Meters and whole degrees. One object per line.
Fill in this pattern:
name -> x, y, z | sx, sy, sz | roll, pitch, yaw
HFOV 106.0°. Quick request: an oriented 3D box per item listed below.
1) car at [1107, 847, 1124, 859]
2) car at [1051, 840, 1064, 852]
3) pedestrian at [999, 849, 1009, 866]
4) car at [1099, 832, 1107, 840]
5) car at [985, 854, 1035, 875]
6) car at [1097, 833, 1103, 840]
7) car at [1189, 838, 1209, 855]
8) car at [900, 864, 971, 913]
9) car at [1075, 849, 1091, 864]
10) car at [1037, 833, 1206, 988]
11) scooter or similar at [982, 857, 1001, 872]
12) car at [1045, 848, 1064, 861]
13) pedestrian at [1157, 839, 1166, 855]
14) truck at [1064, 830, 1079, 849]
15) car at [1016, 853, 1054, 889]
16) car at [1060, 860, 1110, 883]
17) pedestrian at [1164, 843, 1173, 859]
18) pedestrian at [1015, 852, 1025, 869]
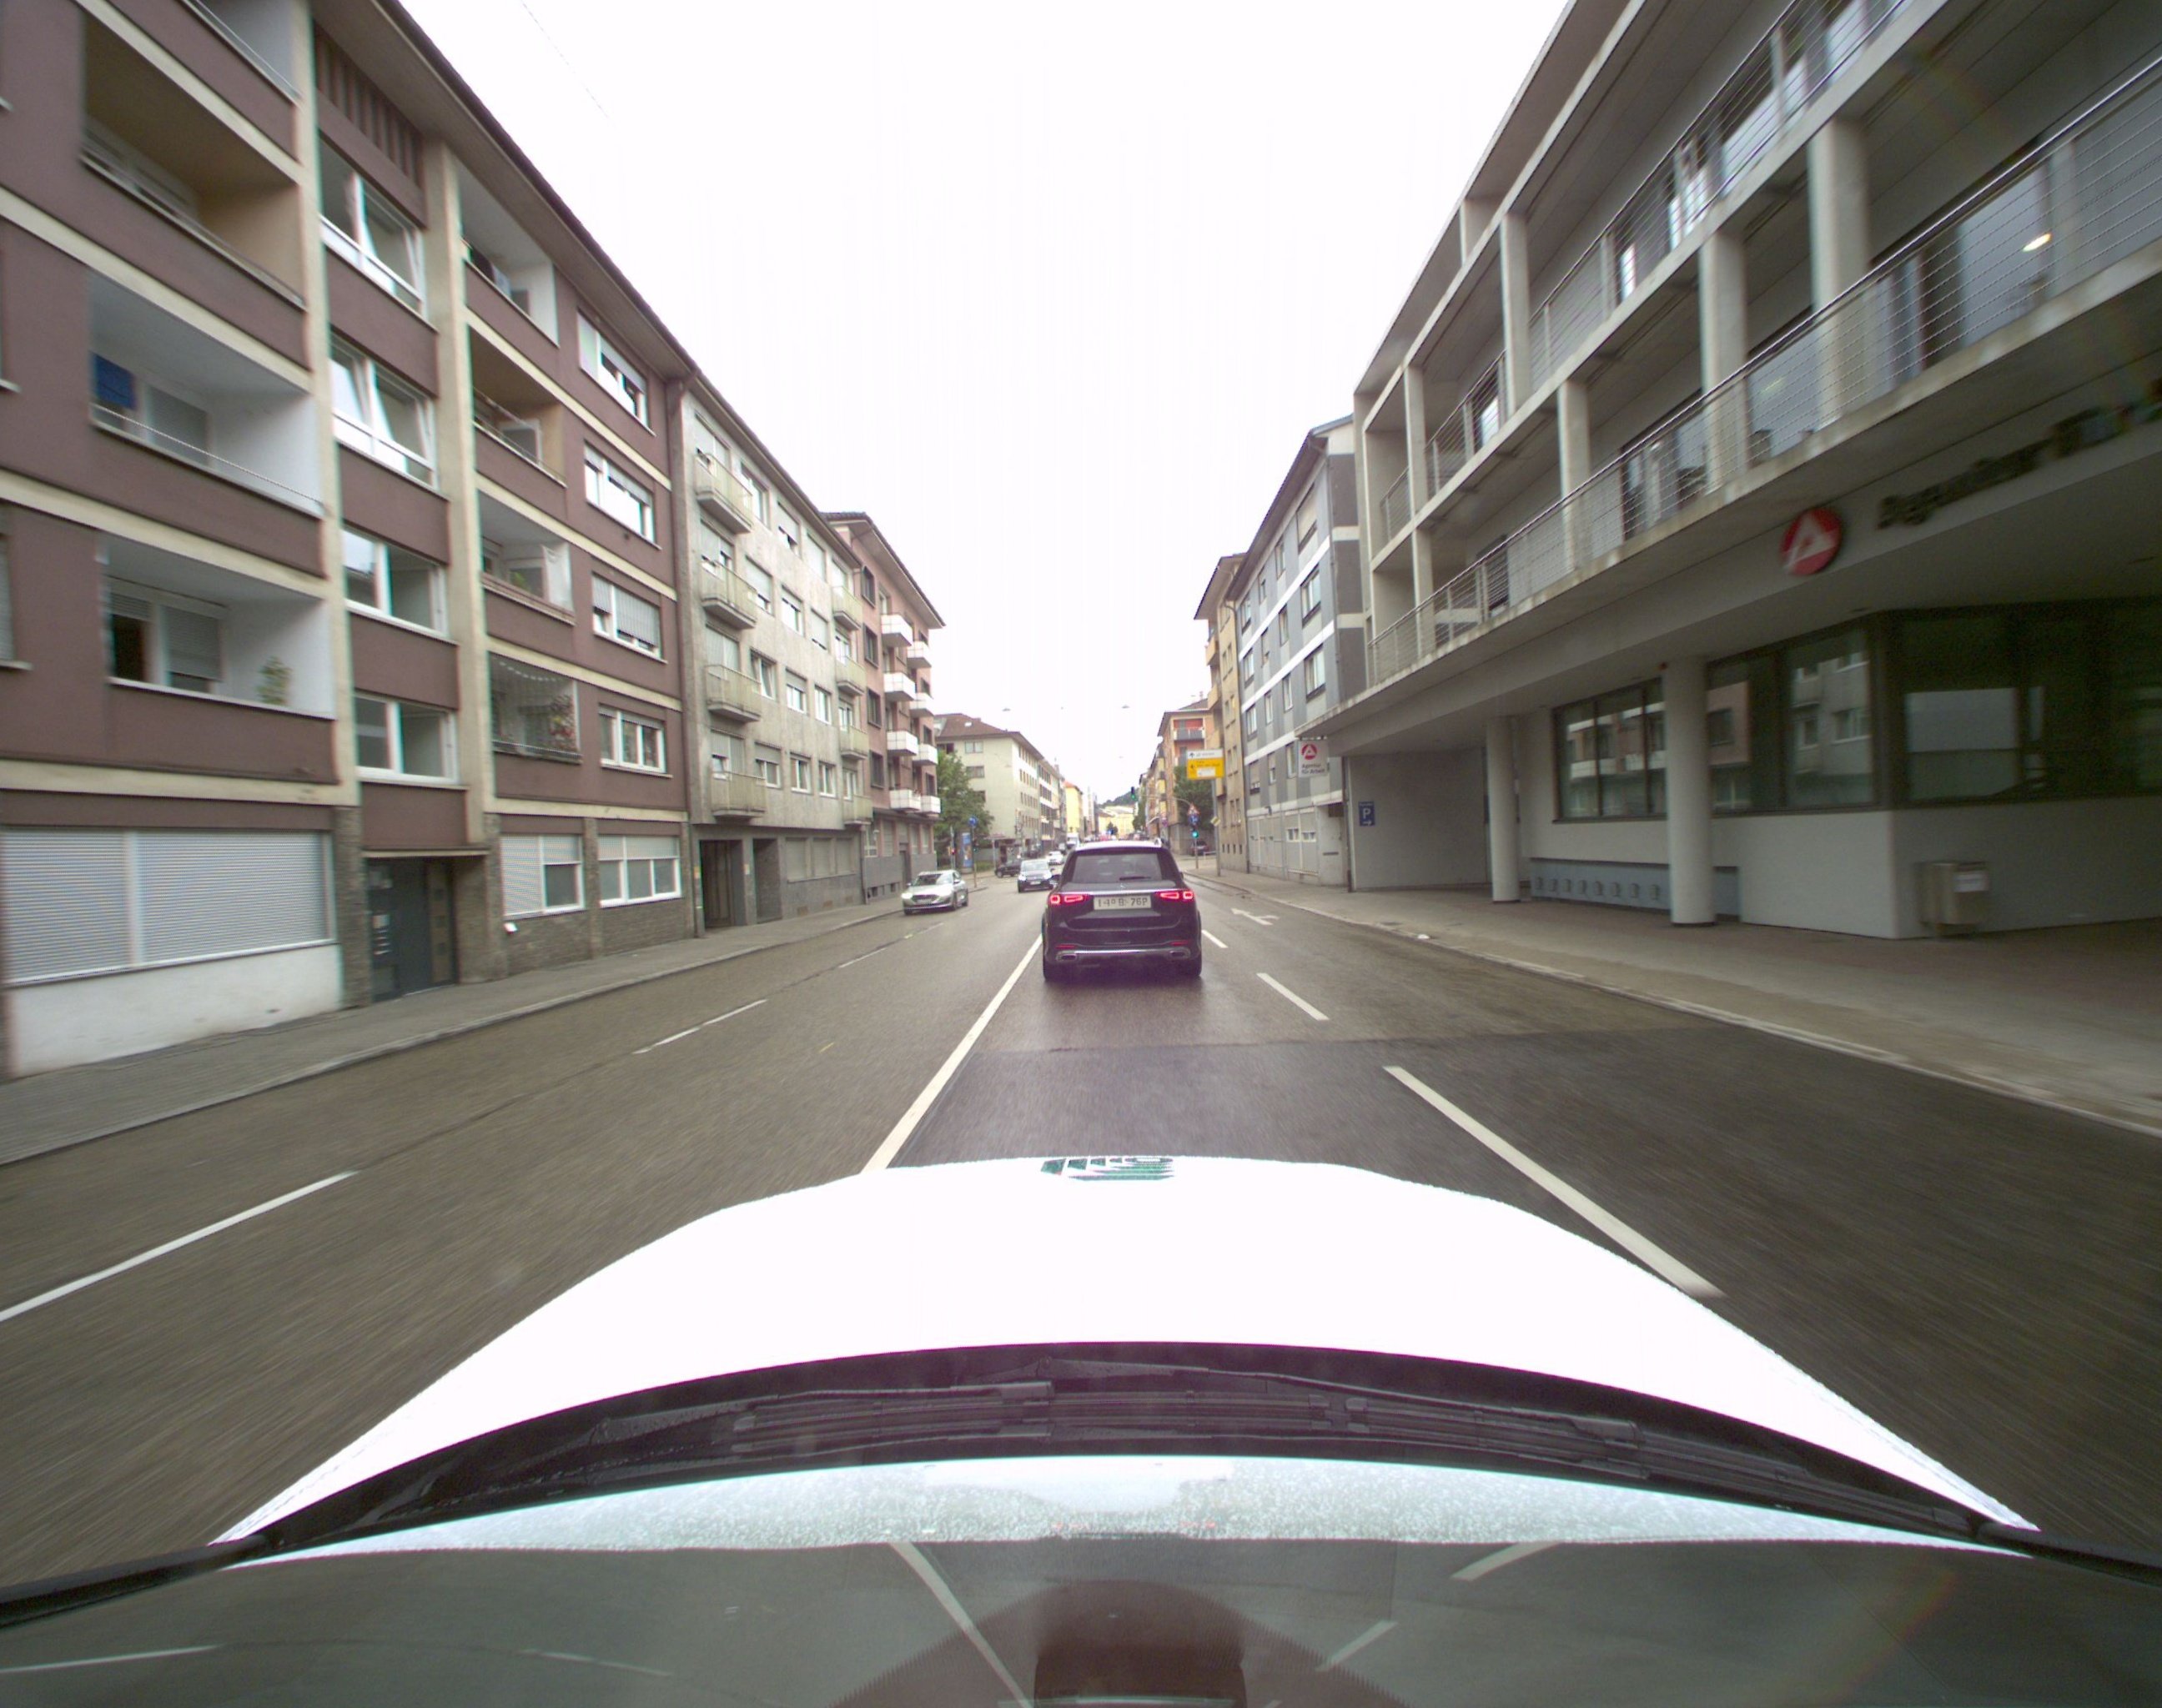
car -> 4.534, -0.101, 107.003 | 1.987, 1.351, 4.001 | -4, 0, 1
car -> -3.515, -1.199, 122.379 | 1.613, 1.539, 4.216 | -4, -1, 0
pedestrian -> -8.801, 0.433, 92.843 | 0.920, 1.902, 0.706 | -3, 0, 0
car -> 5.008, -4.098, 189.367 | 1.613, 1.539, 4.216 | -4, -1, 0
car -> -6.198, 0.937, 70.767 | 4.303, 1.539, 1.789 | -5, -1, 43
car -> 5.620, -5.181, 240.672 | 1.613, 1.539, 4.216 | -4, -1, 0
car -> 12.294, -0.760, 84.944 | 1.664, 1.588, 3.334 | -3, 0, 4
car -> -5.241, 1.197, 29.790 | 1.767, 1.539, 4.356 | -4, -1, -1
car -> 0.207, 0.258, 91.851 | 1.613, 1.539, 4.216 | -4, -1, 0
car -> 0.545, 0.686, 11.727 | 1.977, 1.805, 4.391 | 0, -1, 2
scooter or similar -> -9.316, 1.046, 84.681 | 0.866, 1.460, 1.868 | -3, 0, 35
car -> -2.932, 0.083, 91.181 | 1.879, 1.264, 4.216 | -4, -1, 0
pedestrian -> 10.253, -0.849, 104.104 | 0.920, 2.013, 0.706 | -3, 0, 0
truck -> -1.686, -2.553, 147.806 | 2.472, 3.046, 9.917 | -4, -1, 0
car -> -2.359, 0.848, 42.500 | 1.768, 1.645, 4.407 | -4, 1, -3
car -> 0.266, 1.359, 62.489 | 1.783, 1.539, 4.317 | -4, -1, -29
pedestrian -> 10.396, -0.352, 96.429 | 0.920, 1.804, 0.706 | -3, 0, 0
pedestrian -> -6.376, 0.689, 85.217 | 0.630, 1.764, 0.777 | -3, 0, 18
